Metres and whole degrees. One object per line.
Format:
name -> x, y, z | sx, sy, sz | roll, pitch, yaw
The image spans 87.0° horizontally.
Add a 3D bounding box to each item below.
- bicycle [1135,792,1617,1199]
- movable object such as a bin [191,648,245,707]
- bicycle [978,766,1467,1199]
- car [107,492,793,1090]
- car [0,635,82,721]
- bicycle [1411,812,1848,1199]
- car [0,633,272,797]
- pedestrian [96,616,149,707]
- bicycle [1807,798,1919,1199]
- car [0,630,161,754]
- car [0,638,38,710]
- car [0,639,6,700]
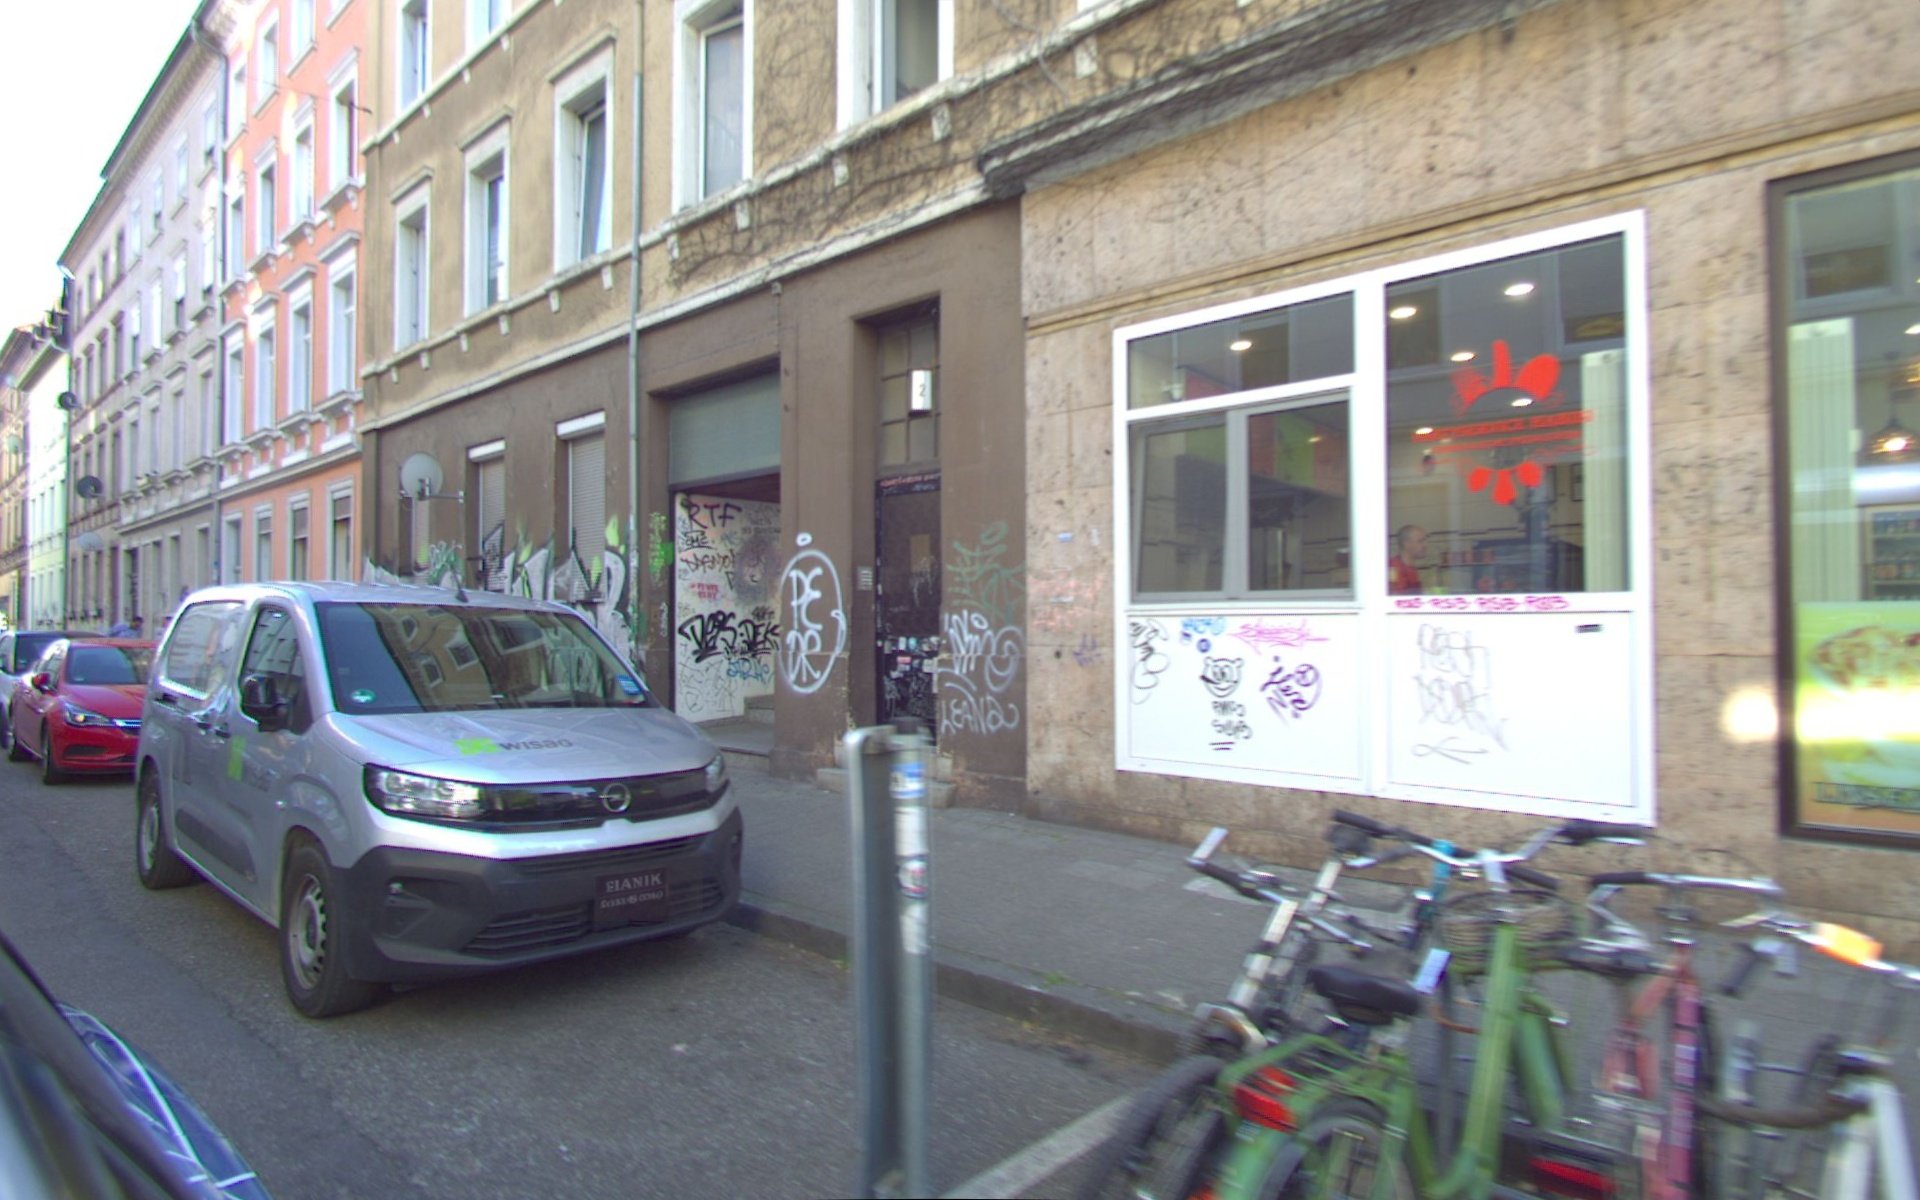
bicycle -> 0.990, 1.014, 2.105 | 0.405, 0.969, 1.747 | -2, -3, 40
movable object such as a bin -> -14.214, 1.464, 19.392 | 0.768, 1.057, 0.663 | -2, -1, -40
bicycle -> 0.778, 1.023, 2.535 | 0.463, 0.996, 1.746 | -2, -3, 40
car -> -3.012, 0.723, 5.427 | 4.517, 1.925, 1.661 | -2, -6, 42
car -> -17.988, 1.420, 19.021 | 3.608, 1.504, 1.662 | -2, -3, 39
bicycle -> 1.304, 1.013, 1.822 | 0.422, 0.969, 1.747 | -2, -3, 40
car -> -9.305, 1.146, 11.218 | 4.200, 1.485, 1.662 | -2, -5, 40
pedestrian -> -17.600, 1.269, 21.267 | 0.594, 1.845, 0.780 | -2, -1, 42
bicycle -> 1.616, 0.926, 1.559 | 0.443, 0.969, 1.747 | -2, -3, 40
car -> -12.833, 1.231, 14.342 | 2.955, 1.561, 1.663 | -2, -4, 38
car -> -21.605, 1.580, 22.153 | 4.311, 1.474, 1.661 | -2, -3, 42
car -> -25.268, 1.735, 25.536 | 1.659, 1.474, 3.863 | 2, -3, -44
